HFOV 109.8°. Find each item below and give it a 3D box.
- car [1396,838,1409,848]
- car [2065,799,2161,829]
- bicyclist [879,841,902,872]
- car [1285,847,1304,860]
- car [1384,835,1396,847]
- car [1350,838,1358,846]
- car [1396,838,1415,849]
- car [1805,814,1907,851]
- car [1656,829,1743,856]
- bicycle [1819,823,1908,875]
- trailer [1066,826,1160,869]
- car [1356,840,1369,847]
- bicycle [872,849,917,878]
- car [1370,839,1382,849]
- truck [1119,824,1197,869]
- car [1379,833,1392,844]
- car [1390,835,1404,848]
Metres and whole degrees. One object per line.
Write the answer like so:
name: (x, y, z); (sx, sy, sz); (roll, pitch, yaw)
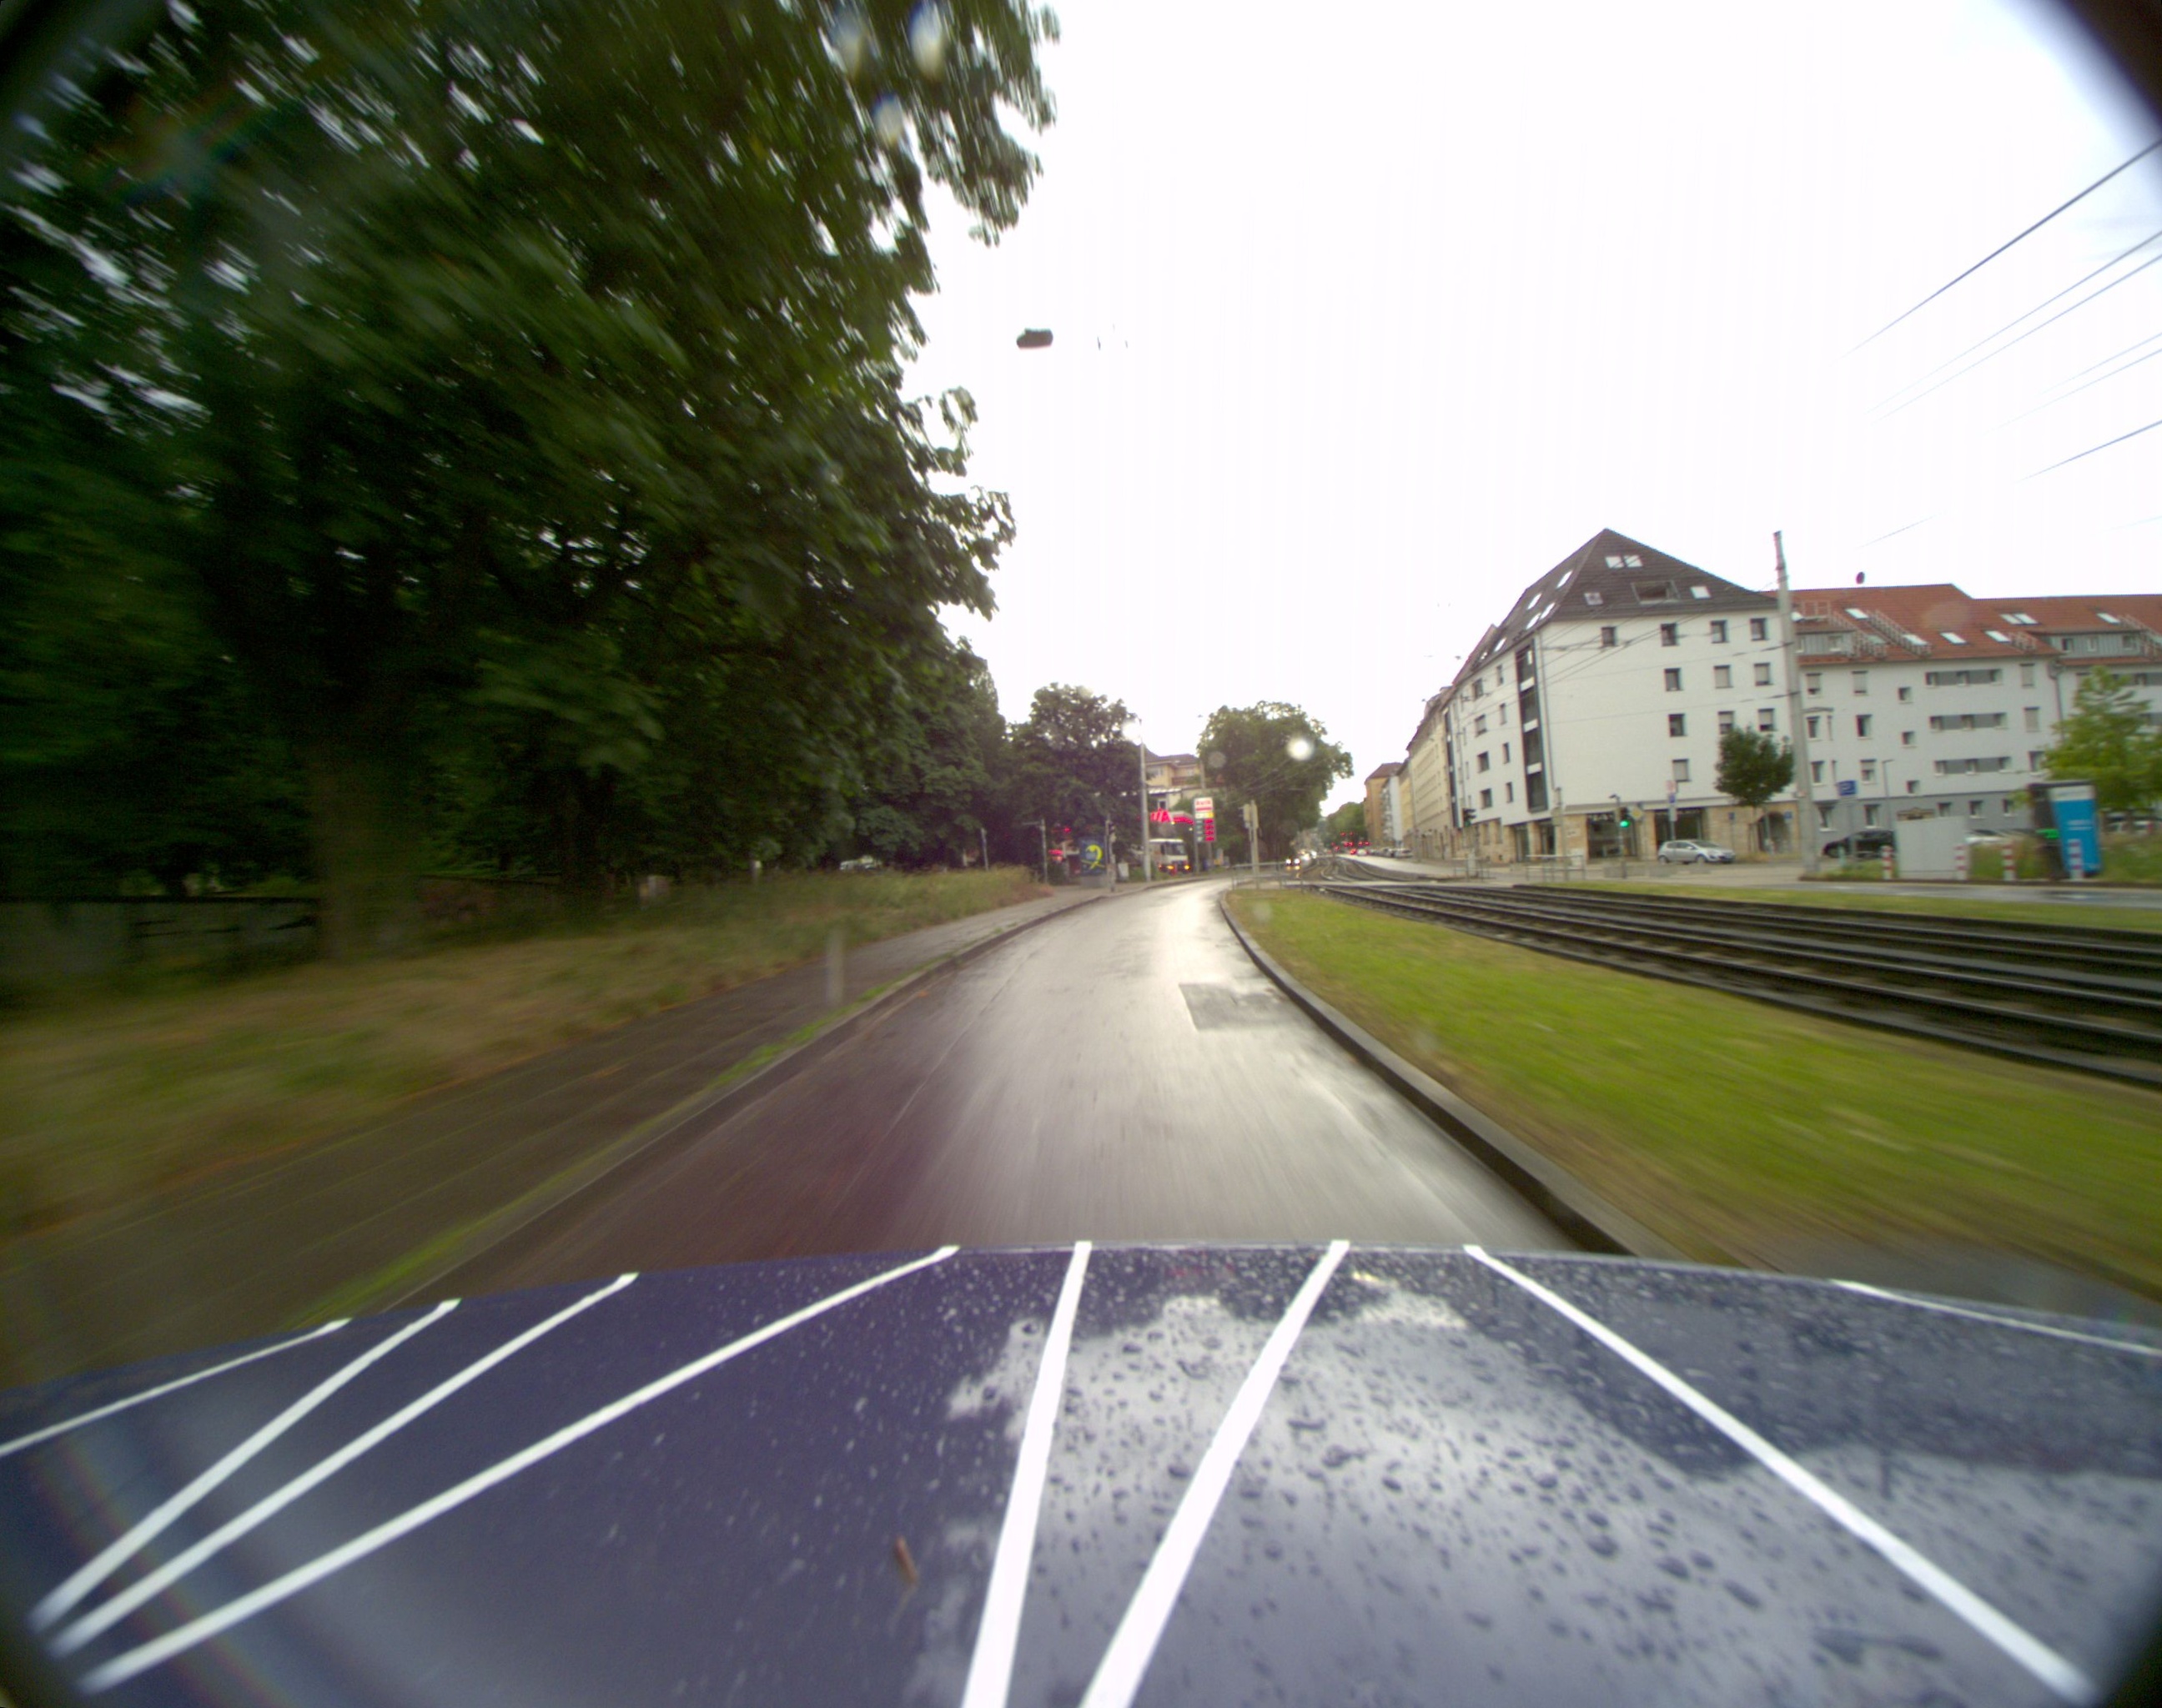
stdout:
car: (50.462, -1.715, 119.282); (1.325, 1.476, 3.194); (-3, 1, 15)
car: (63.570, -2.460, 46.316); (1.939, 1.608, 3.999); (-3, 0, -1)
bicyclist: (-8.204, 0.104, 32.714); (0.800, 1.286, 0.594); (-3, 0, -3)
car: (28.200, -0.033, 100.281); (1.886, 1.482, 3.854); (-2, 1, 22)
car: (55.357, -2.340, 136.164); (1.555, 1.872, 4.045); (-3, 1, 18)
car: (72.017, -3.169, 200.377); (1.946, 2.002, 4.004); (-3, 1, 18)
car: (49.149, -1.569, 115.055); (2.028, 1.533, 4.004); (-3, 1, 15)
car: (46.614, -1.240, 45.807); (1.939, 2.002, 3.999); (-3, 0, -2)
car: (35.604, -0.643, 43.857); (1.600, 1.412, 3.914); (-3, 1, -5)
bicycle: (25.578, -0.176, 24.895); (0.676, 1.587, 2.362); (-3, 1, 8)
trailer: (2.617, -0.446, 66.343); (2.818, 3.376, 9.812); (-4, 1, -33)
car: (61.847, -2.251, 166.856); (1.690, 1.528, 5.020); (-3, 0, 9)
bicycle: (-7.980, 0.406, 32.534); (1.711, 1.134, 0.625); (-3, 1, -3)
car: (64.218, -2.120, 165.540); (2.028, 2.002, 4.231); (-3, 1, 15)
truck: (6.100, -0.572, 61.187); (2.842, 3.380, 6.110); (-3, 1, -35)
car: (56.933, -2.930, 141.992); (1.725, 1.798, 3.595); (-3, 1, 15)
car: (52.419, -2.128, 126.023); (1.727, 1.949, 4.303); (-3, 1, 17)
